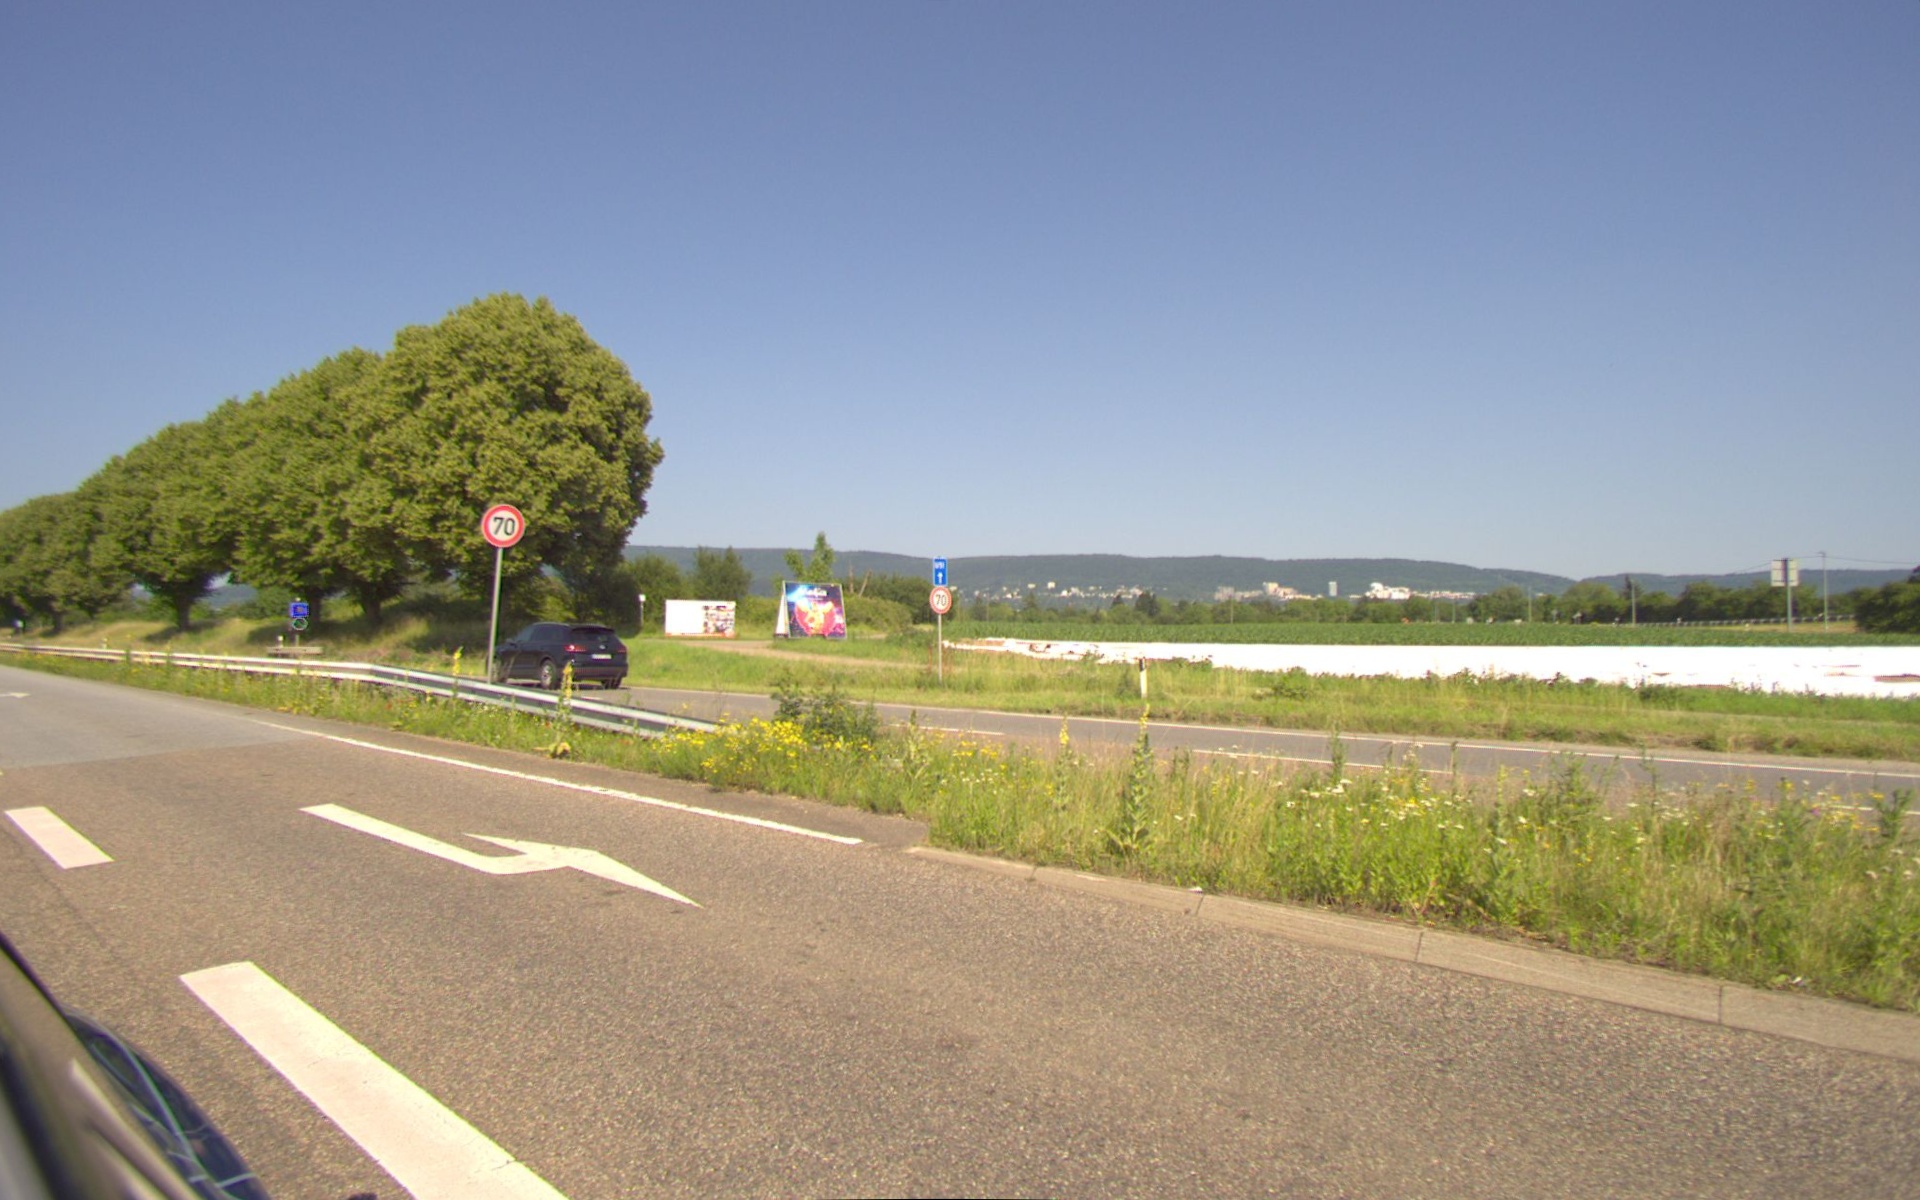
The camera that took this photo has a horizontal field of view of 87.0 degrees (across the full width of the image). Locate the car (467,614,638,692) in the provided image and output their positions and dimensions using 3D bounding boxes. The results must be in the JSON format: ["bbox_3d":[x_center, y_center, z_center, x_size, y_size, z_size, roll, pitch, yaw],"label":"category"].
[{"bbox_3d":[-10.766,1.374,26.585,4.948,1.855,1.974,-2,-4,39],"label":"car"}]
